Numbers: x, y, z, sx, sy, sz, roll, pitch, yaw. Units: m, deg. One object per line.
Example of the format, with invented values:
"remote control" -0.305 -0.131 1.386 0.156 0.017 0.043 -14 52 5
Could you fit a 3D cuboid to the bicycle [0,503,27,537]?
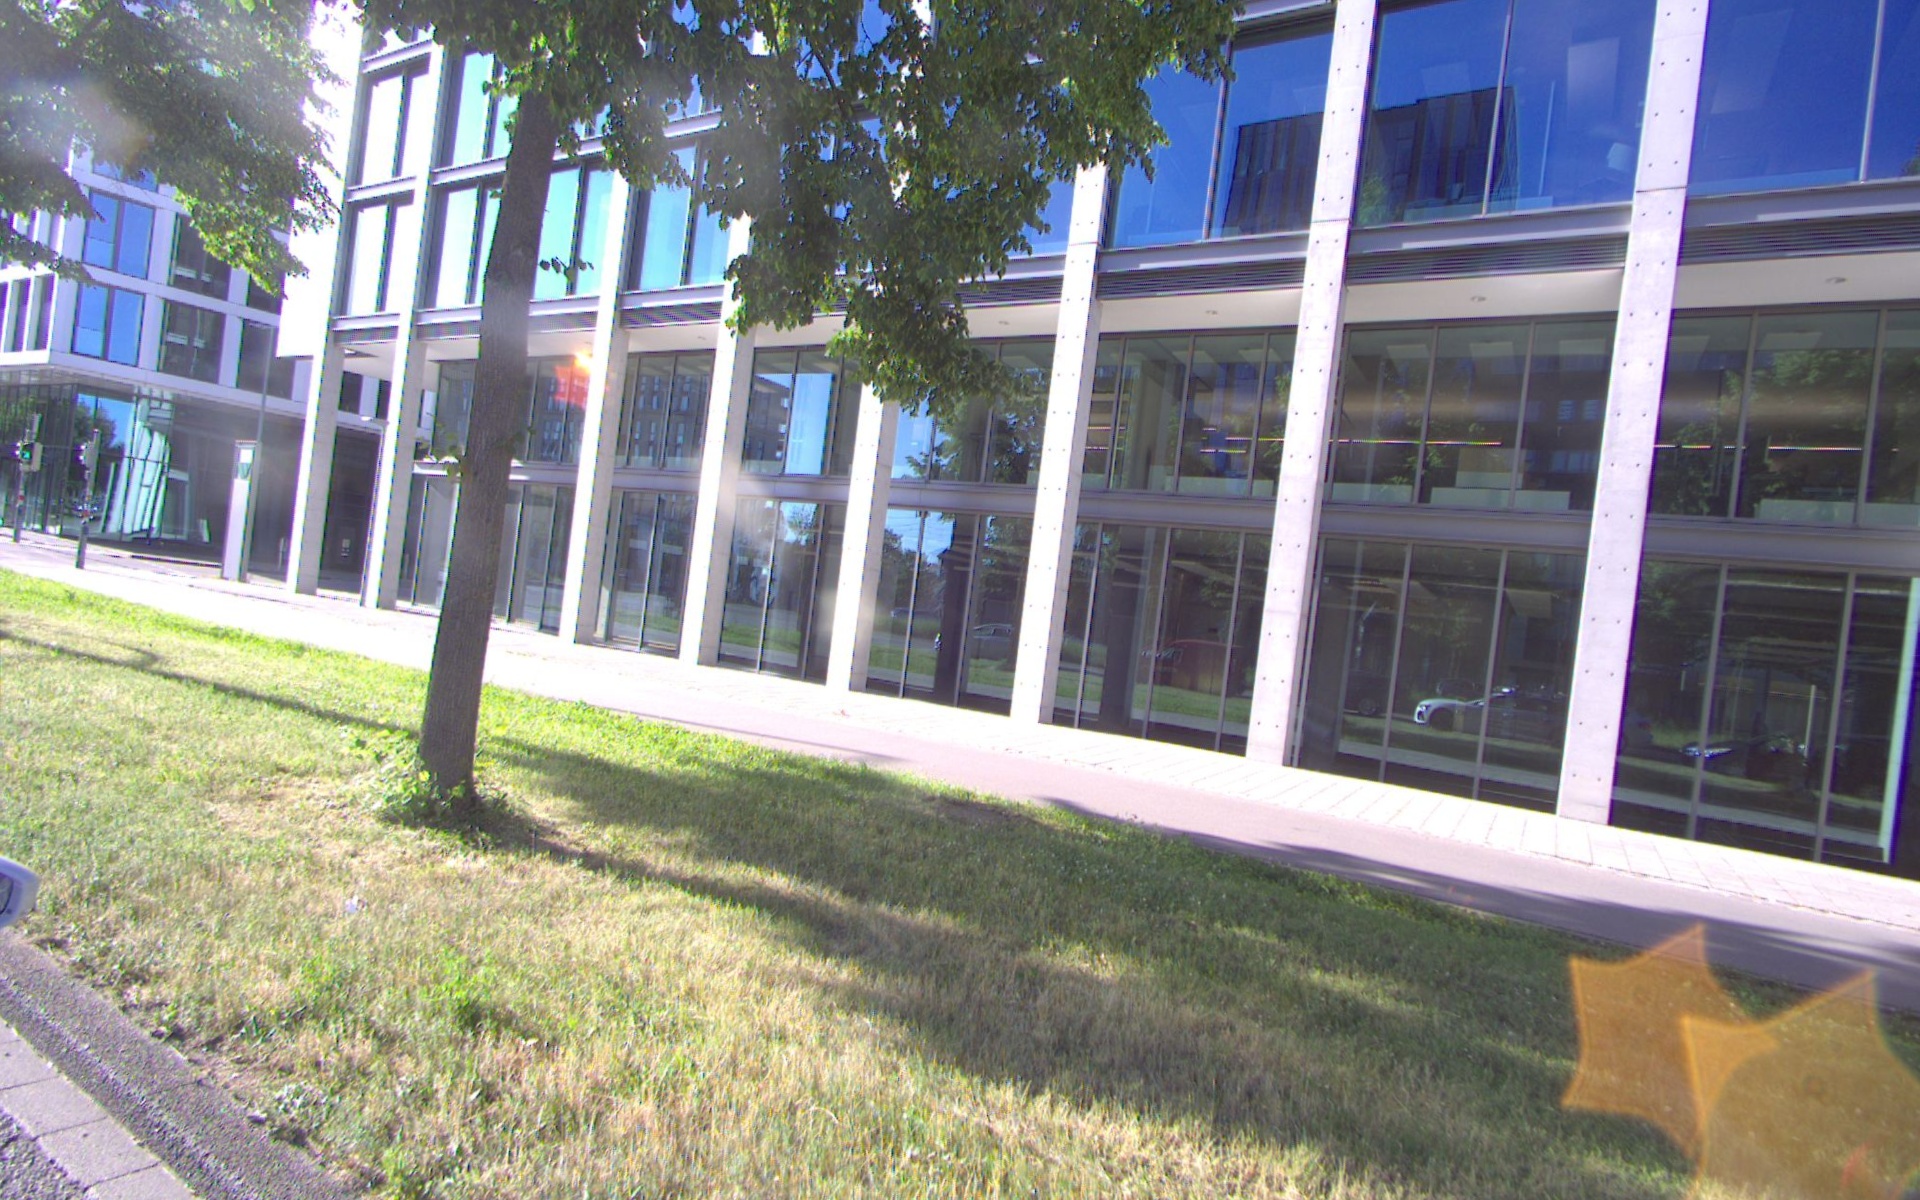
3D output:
"bicycle" -38.439 -3.300 39.170 2.907 1.204 0.815 8 0 -17
